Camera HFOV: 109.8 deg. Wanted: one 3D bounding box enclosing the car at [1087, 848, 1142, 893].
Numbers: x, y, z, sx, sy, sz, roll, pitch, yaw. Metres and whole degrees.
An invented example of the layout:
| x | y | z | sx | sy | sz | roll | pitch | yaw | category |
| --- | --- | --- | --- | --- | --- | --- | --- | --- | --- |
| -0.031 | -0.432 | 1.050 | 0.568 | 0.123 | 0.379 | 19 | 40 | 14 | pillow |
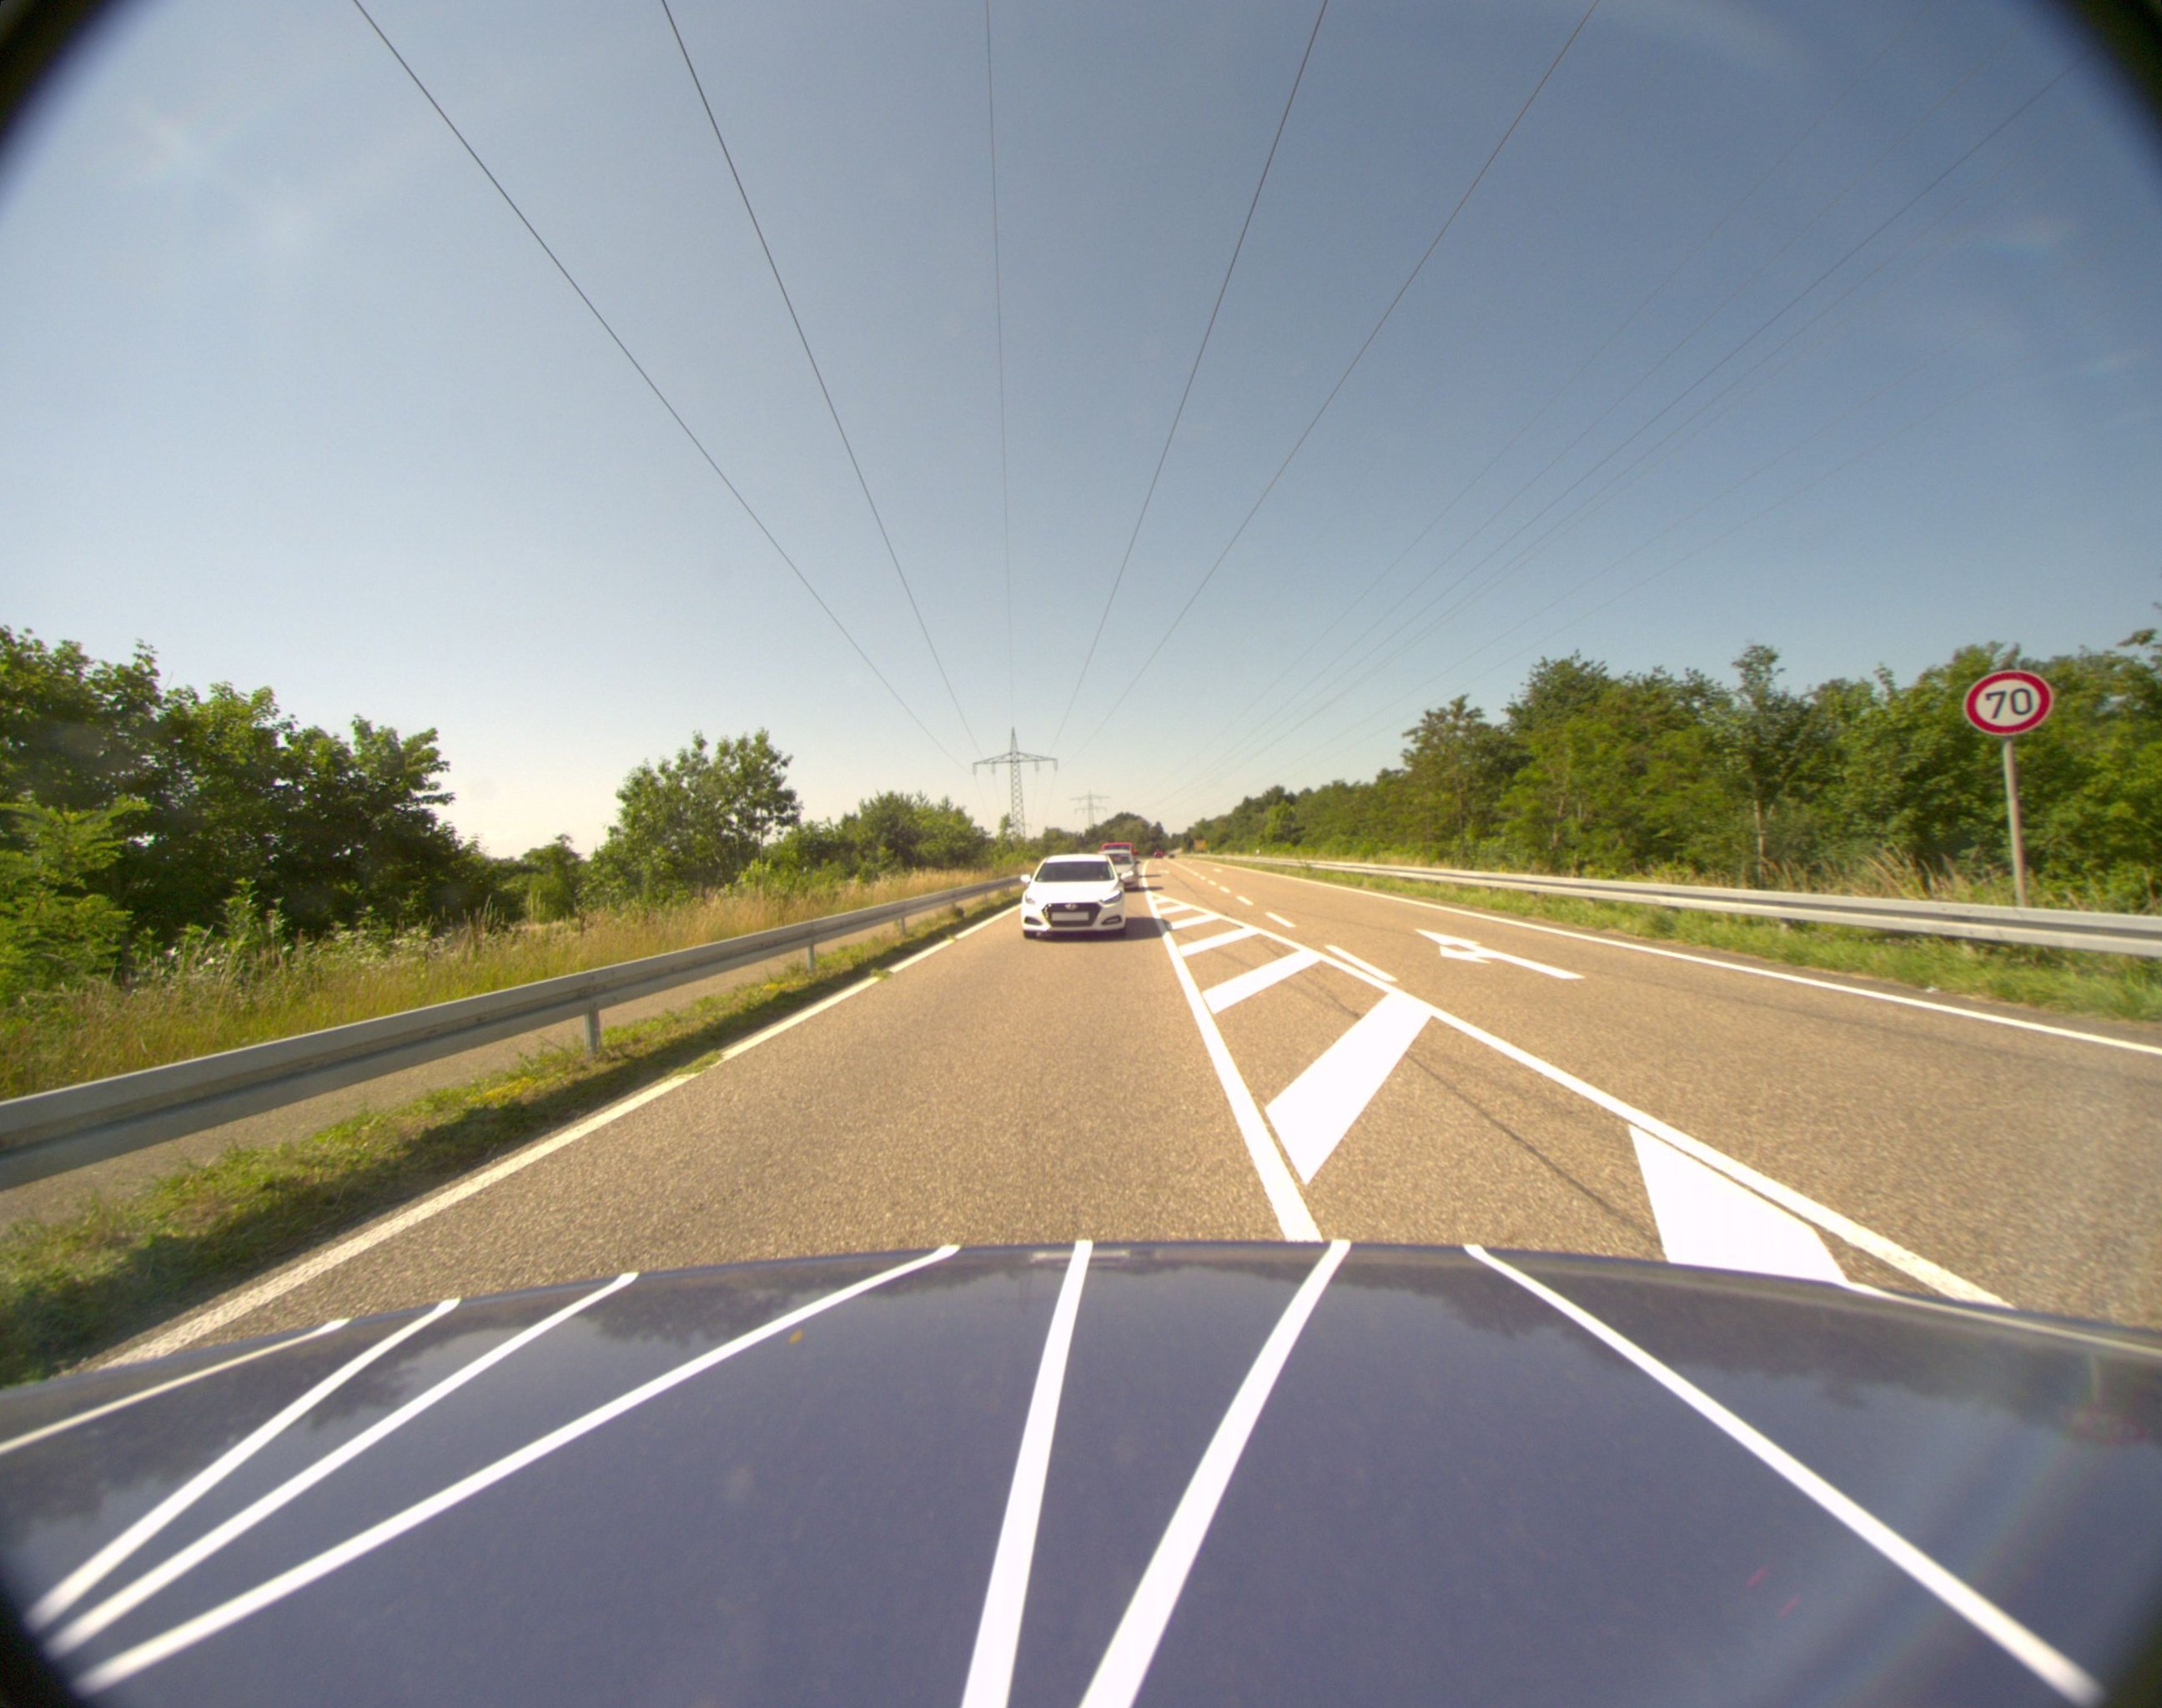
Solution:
| x | y | z | sx | sy | sz | roll | pitch | yaw | category |
| --- | --- | --- | --- | --- | --- | --- | --- | --- | --- |
| 1.338 | 0.589 | 29.834 | 1.922 | 1.540 | 4.794 | -2 | 0 | 3 | car |

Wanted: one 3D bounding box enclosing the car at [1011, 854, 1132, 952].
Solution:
| x | y | z | sx | sy | sz | roll | pitch | yaw | category |
| --- | --- | --- | --- | --- | --- | --- | --- | --- | --- |
| -0.020 | 0.806 | 14.786 | 1.922 | 1.496 | 4.794 | -2 | 0 | 3 | car |

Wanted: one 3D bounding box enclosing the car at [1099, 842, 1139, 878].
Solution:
| x | y | z | sx | sy | sz | roll | pitch | yaw | category |
| --- | --- | --- | --- | --- | --- | --- | --- | --- | --- |
| 2.192 | 0.312 | 44.590 | 2.126 | 1.934 | 5.019 | -2 | 0 | 2 | car |

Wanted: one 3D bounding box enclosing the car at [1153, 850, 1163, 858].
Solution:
| x | y | z | sx | sy | sz | roll | pitch | yaw | category |
| --- | --- | --- | --- | --- | --- | --- | --- | --- | --- |
| 16.251 | -0.077 | 160.295 | 1.833 | 1.574 | 4.001 | -1 | 1 | 4 | car |

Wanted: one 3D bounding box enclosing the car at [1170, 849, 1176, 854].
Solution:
| x | y | z | sx | sy | sz | roll | pitch | yaw | category |
| --- | --- | --- | --- | --- | --- | --- | --- | --- | --- |
| 27.579 | -0.707 | 227.293 | 1.832 | 1.574 | 4.002 | 0 | 1 | 7 | car |
